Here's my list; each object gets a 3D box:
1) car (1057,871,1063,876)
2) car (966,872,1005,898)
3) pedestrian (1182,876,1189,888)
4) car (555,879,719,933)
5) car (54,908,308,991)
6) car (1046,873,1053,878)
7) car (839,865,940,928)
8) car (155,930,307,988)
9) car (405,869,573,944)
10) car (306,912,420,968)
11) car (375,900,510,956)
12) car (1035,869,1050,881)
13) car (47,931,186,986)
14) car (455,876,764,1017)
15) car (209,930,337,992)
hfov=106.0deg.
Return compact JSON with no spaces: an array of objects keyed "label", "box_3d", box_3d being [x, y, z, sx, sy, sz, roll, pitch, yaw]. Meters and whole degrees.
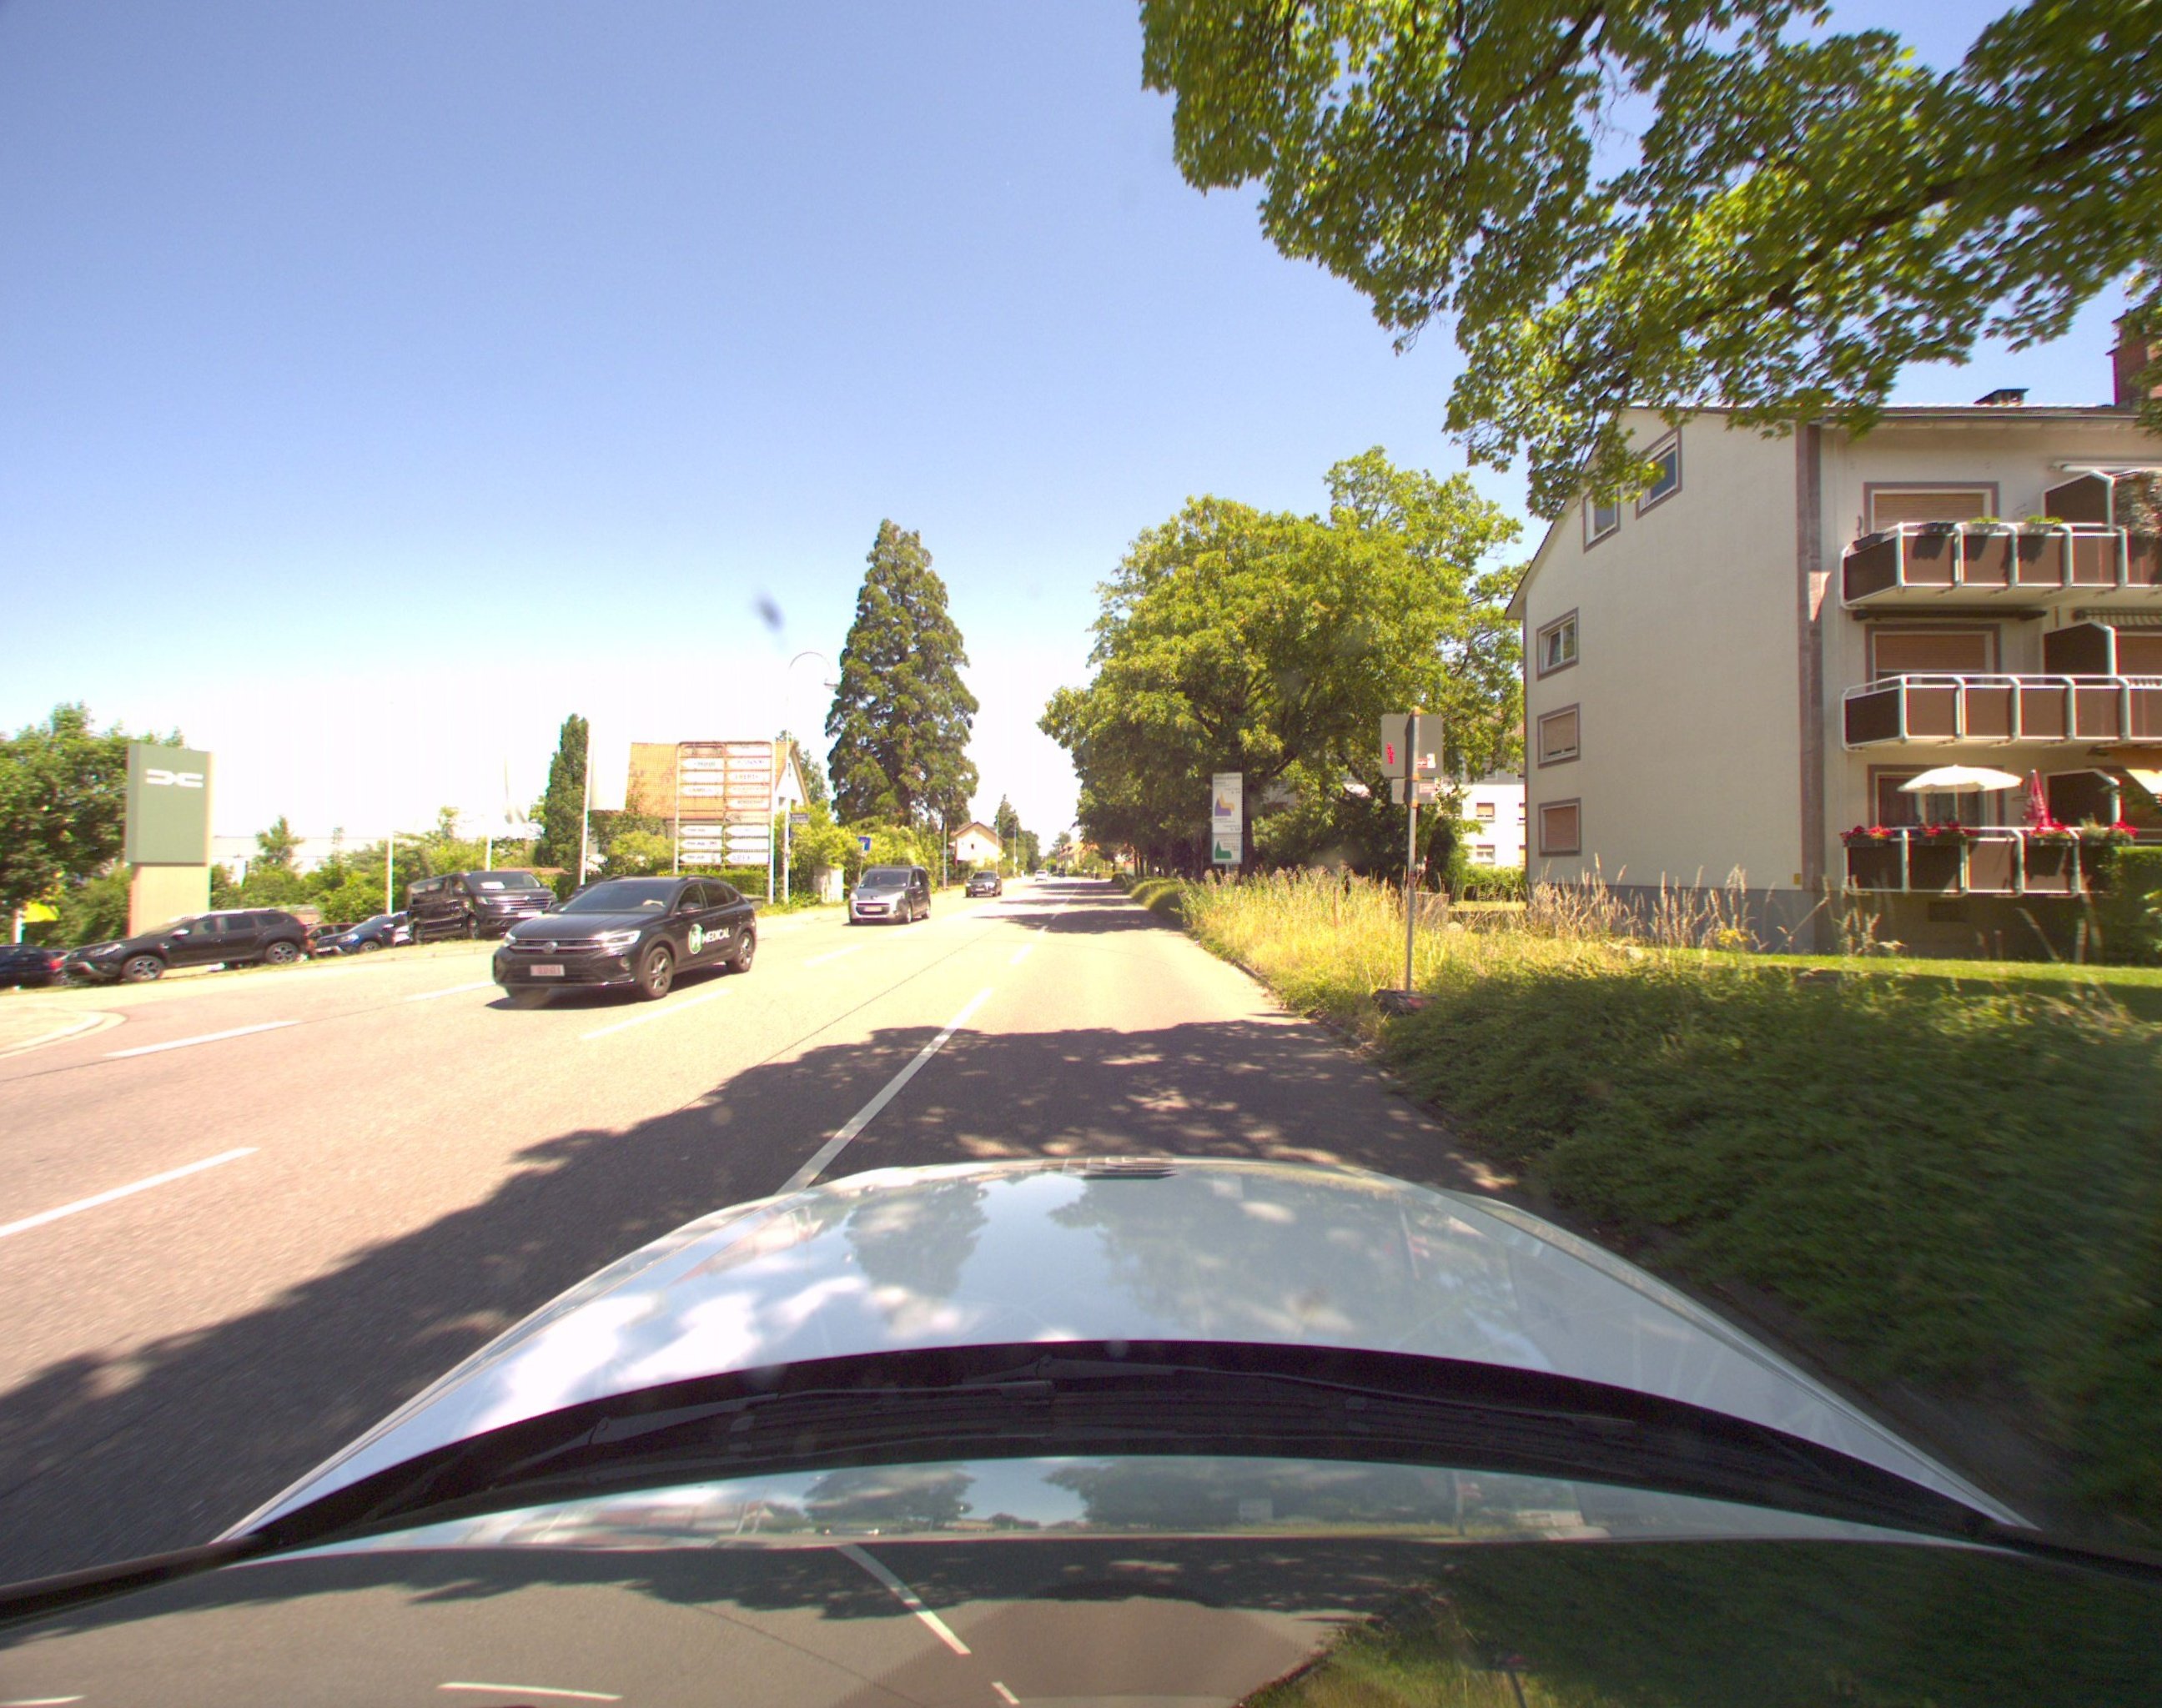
[{"label":"car","box_3d":[-6.559,6.063,253.341,1.808,1.718,4.001,0,-1,2]},{"label":"car","box_3d":[-5.812,1.860,49.889,1.787,1.537,4.315,-1,-1,1]},{"label":"pedestrian","box_3d":[10.722,2.870,83.679,0.701,1.160,0.755,0,-2,4]},{"label":"car","box_3d":[-13.282,1.510,24.424,4.107,1.504,1.783,0,-1,12]},{"label":"car","box_3d":[-23.605,2.453,21.589,1.794,1.722,4.107,-5,-3,17]},{"label":"car","box_3d":[-9.730,6.671,253.218,1.808,1.718,4.001,0,-1,2]},{"label":"car","box_3d":[-5.812,1.234,25.272,1.803,1.762,4.573,-1,-1,3]},{"label":"car","box_3d":[-32.177,3.936,31.039,1.807,1.722,4.078,0,-1,-8]},{"label":"car","box_3d":[-16.216,1.371,22.270,4.400,1.727,2.077,-2,3,31]},{"label":"car","box_3d":[-26.530,3.116,30.271,1.815,1.722,4.061,0,-1,-20]},{"label":"car","box_3d":[-22.682,2.578,29.162,1.806,1.722,4.081,0,-1,-5]},{"label":"car","box_3d":[-5.641,3.084,119.945,1.906,1.689,4.125,-1,-1,0]},{"label":"car","box_3d":[-38.702,4.148,32.839,1.815,1.722,4.061,0,-1,-20]},{"label":"car","box_3d":[-6.030,1.087,11.093,1.863,1.507,4.051,-1,-1,-1]},{"label":"car","box_3d":[-28.898,3.758,29.301,1.816,1.722,4.058,0,-1,-22]}]
